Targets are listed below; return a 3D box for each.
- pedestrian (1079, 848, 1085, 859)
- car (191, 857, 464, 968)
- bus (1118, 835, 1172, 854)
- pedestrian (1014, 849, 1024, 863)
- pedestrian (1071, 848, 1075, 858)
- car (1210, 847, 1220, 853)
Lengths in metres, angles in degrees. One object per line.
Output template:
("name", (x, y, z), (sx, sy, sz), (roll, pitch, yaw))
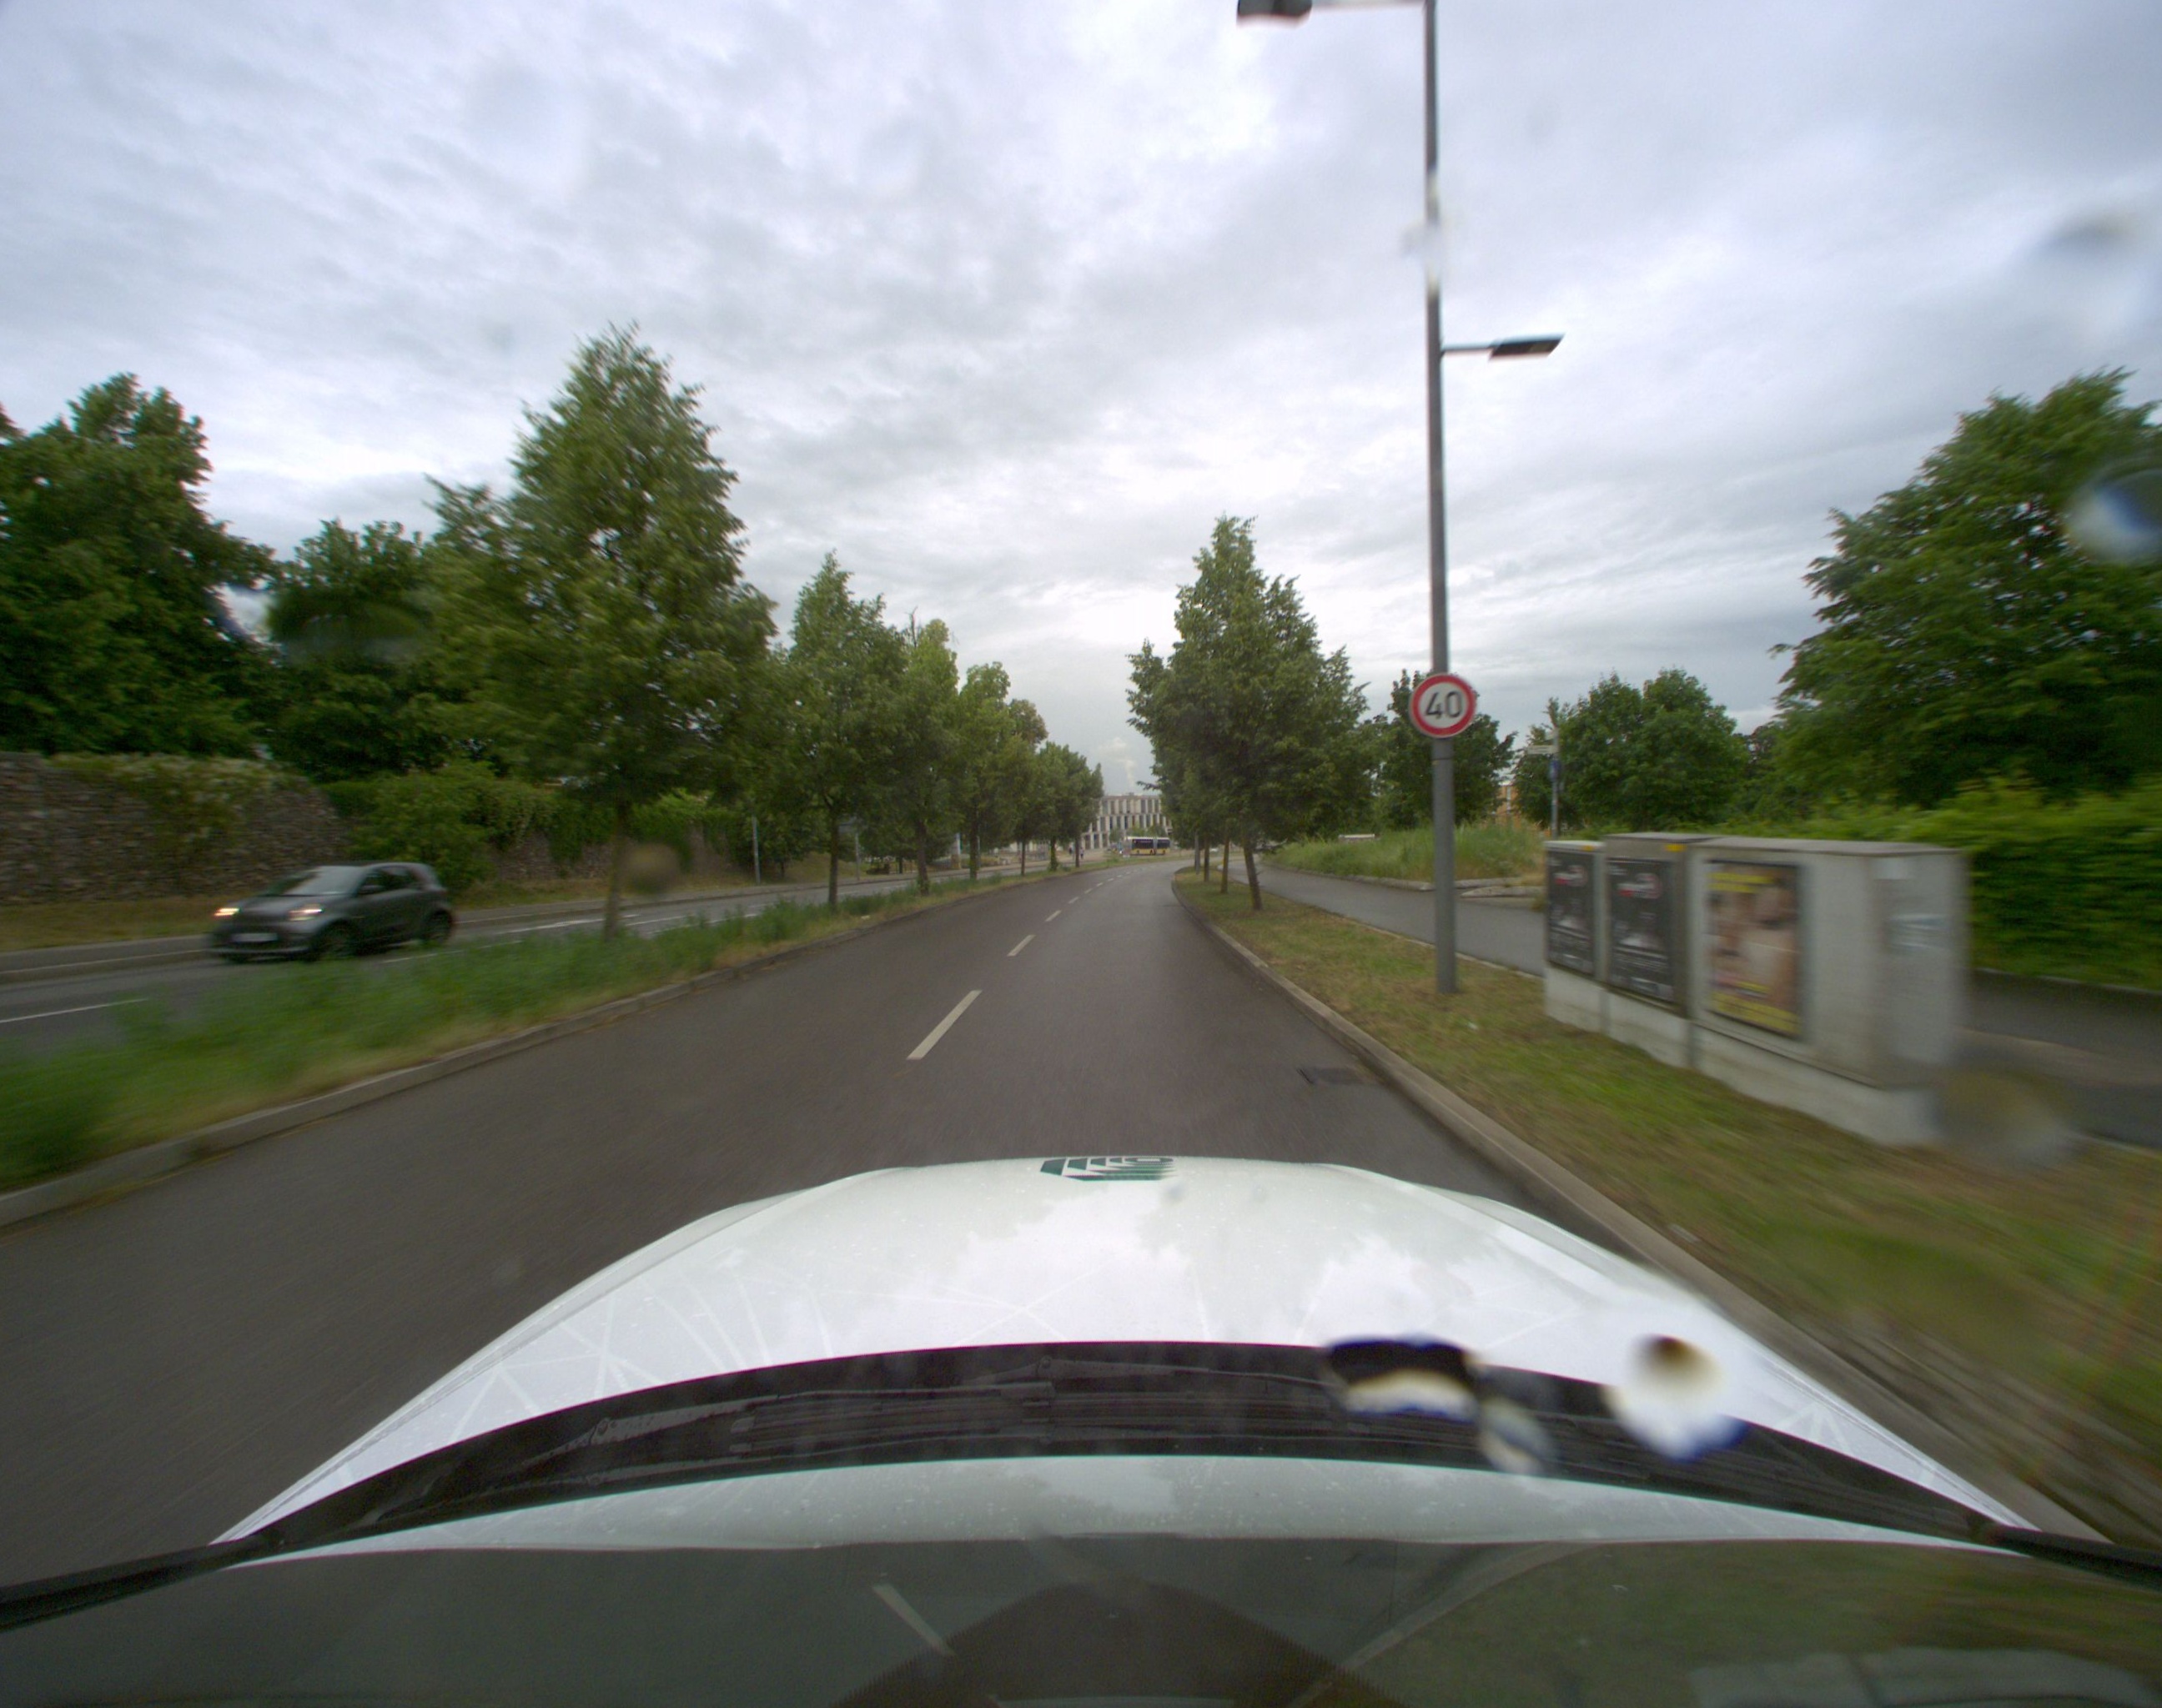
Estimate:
("pedestrian", (0.101, -0.058, 113.289), (0.832, 1.573, 0.718), (-1, -1, -3))
("car", (-12.142, 0.866, 13.394), (1.680, 1.539, 2.917), (-1, 1, 2))
("bus", (12.292, -1.704, 152.920), (2.758, 3.357, 18.337), (-2, -1, 29))
("pedestrian", (-7.350, 0.241, 96.474), (0.808, 1.621, 0.939), (-1, -1, 14))
("pedestrian", (-1.325, -0.155, 136.098), (0.679, 1.524, 0.720), (-1, -1, 3))
("car", (31.538, -0.895, 191.304), (1.464, 1.494, 2.545), (-2, -1, 27))
